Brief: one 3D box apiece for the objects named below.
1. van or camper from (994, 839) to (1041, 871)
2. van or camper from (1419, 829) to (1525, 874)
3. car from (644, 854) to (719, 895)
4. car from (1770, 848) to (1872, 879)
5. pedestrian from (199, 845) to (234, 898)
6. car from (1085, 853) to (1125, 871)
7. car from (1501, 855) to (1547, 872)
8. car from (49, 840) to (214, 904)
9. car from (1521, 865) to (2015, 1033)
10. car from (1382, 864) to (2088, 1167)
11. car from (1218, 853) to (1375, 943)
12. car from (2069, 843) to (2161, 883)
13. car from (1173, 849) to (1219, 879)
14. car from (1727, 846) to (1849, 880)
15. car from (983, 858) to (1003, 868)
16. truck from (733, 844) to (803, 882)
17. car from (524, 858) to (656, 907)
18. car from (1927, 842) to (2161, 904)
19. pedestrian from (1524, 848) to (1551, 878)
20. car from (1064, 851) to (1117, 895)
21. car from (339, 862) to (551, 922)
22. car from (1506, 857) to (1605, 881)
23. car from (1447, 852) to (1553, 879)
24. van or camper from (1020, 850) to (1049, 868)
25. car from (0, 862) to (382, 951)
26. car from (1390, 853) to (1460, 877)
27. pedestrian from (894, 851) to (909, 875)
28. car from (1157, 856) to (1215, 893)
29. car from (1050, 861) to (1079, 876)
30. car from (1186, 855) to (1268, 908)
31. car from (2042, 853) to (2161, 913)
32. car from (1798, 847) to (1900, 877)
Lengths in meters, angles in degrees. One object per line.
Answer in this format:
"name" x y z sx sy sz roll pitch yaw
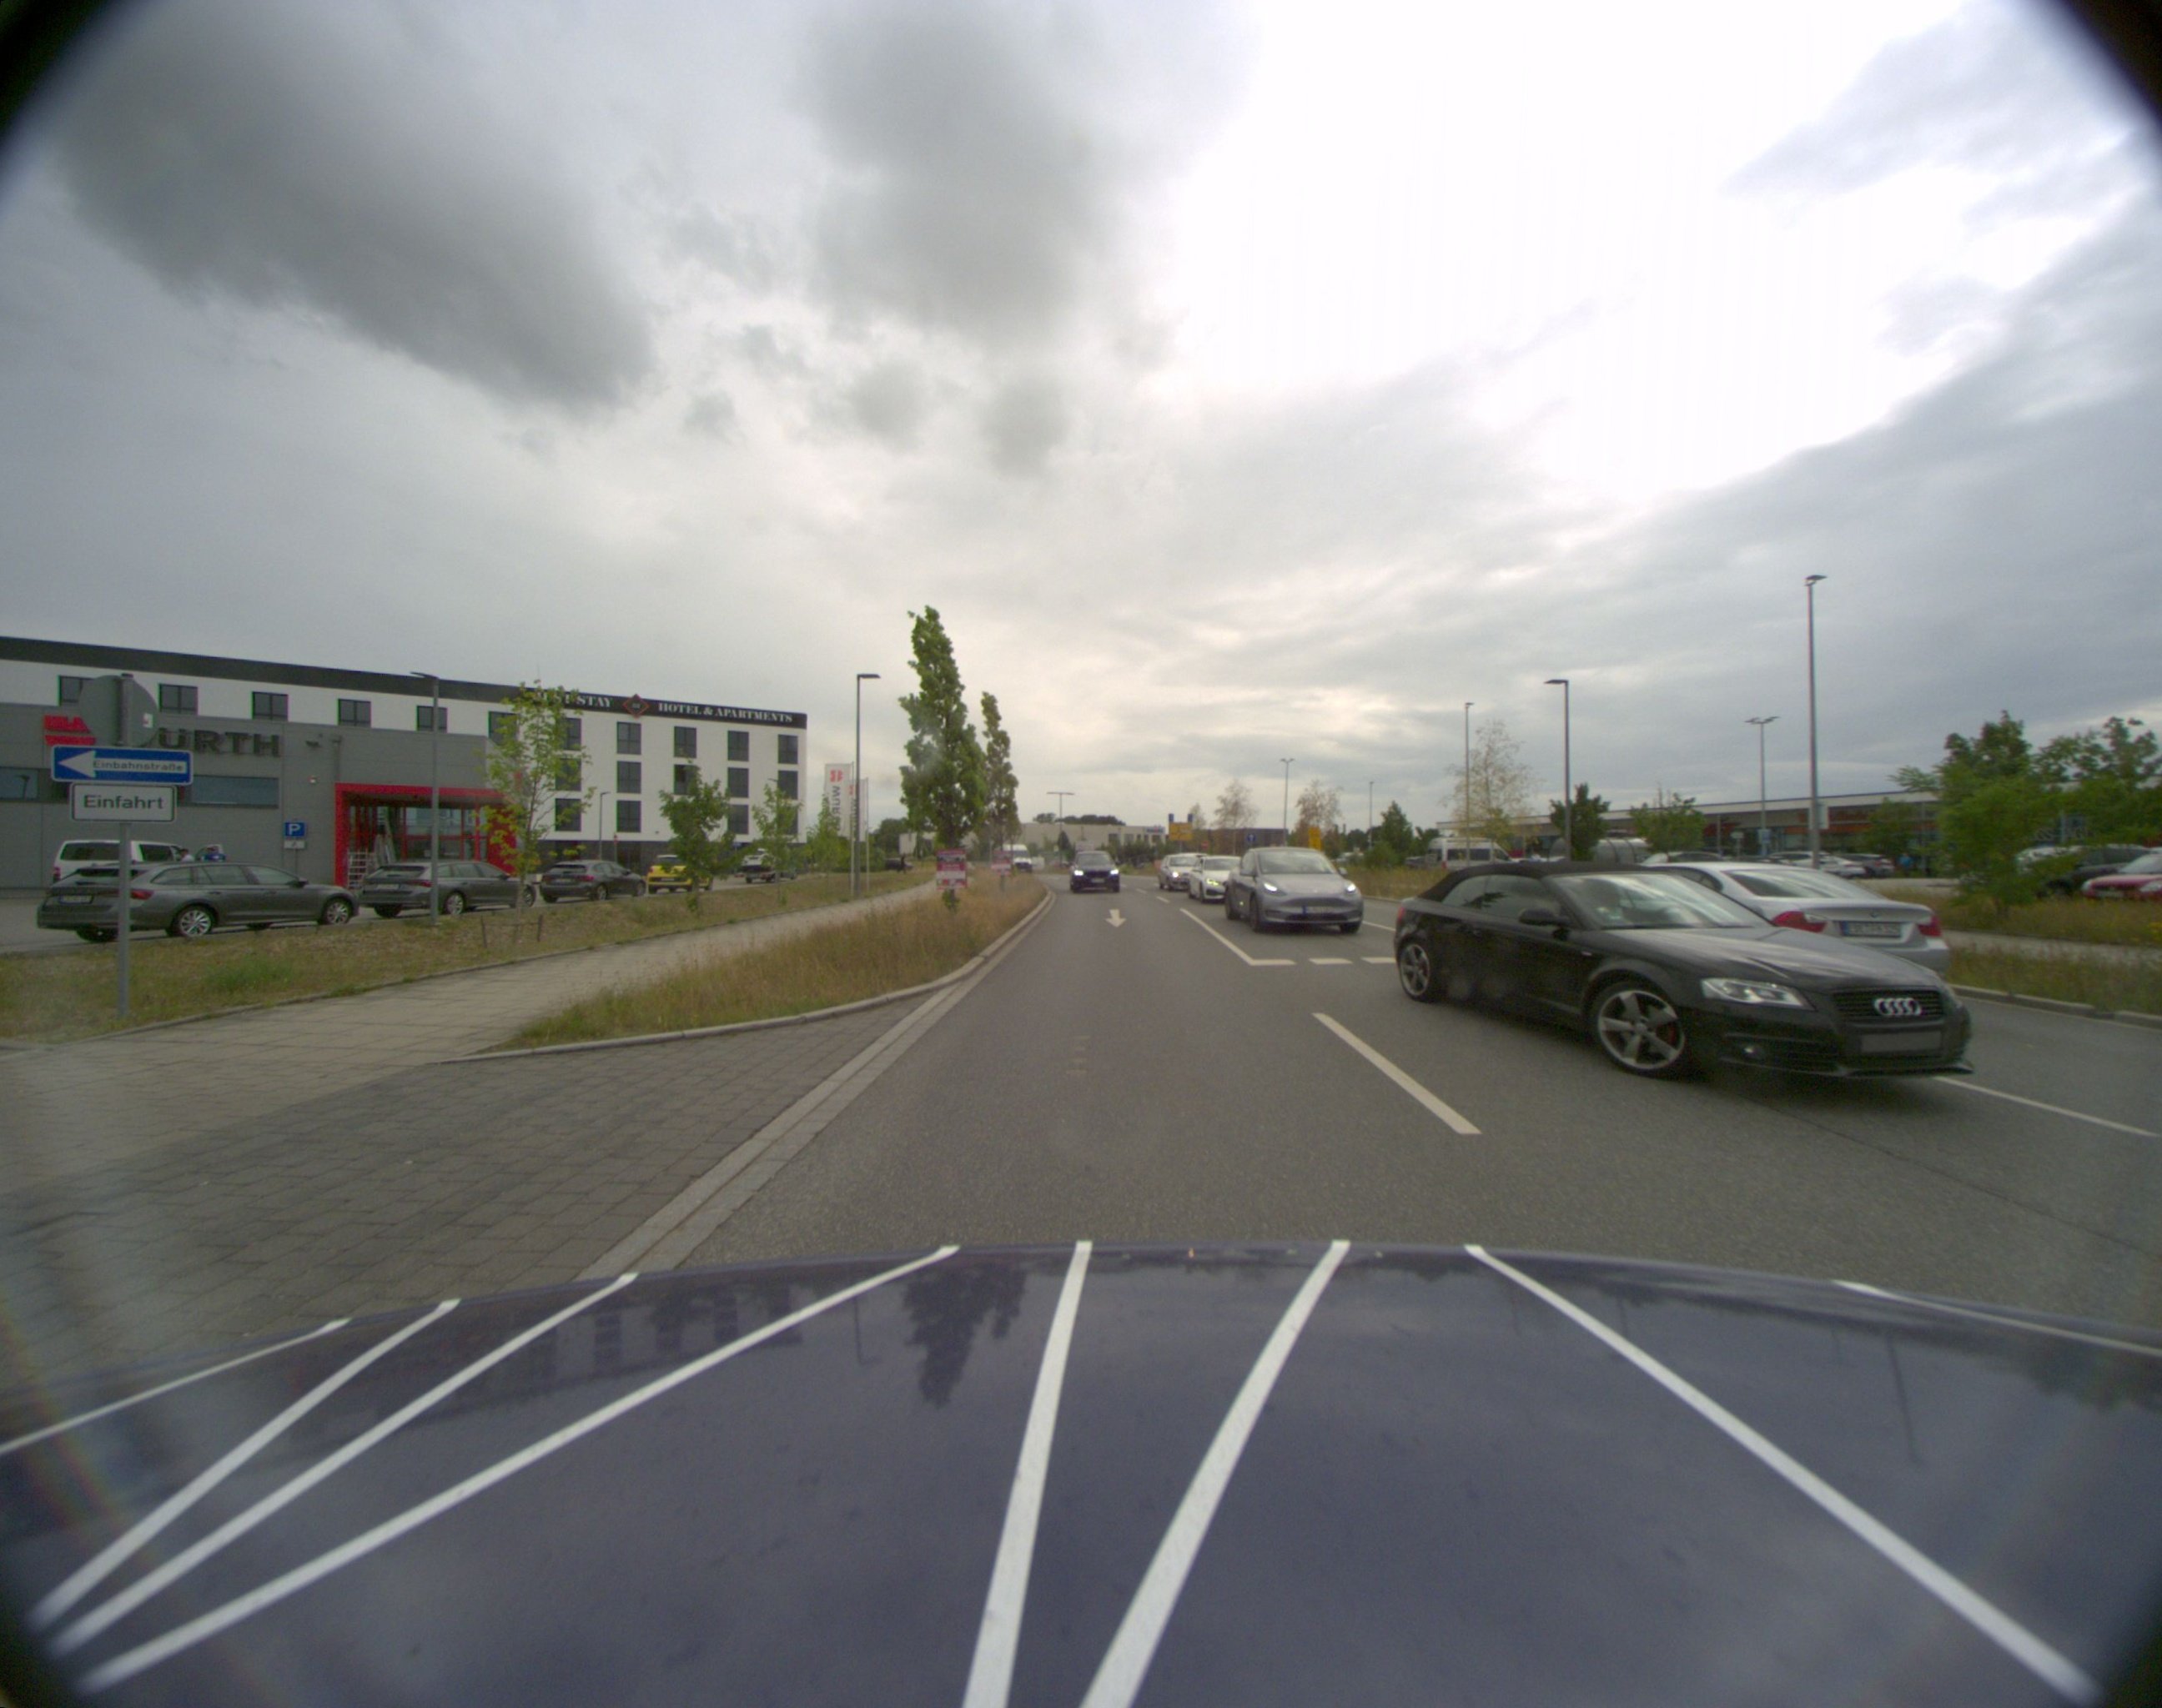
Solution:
"van or camper" -5.544 0.081 65.139 2.269 2.601 5.685 0 0 -24
"van or camper" 25.058 -0.150 48.791 5.871 2.784 2.241 0 1 -9
"car" -17.533 0.845 33.553 1.769 1.676 4.407 0 0 -11
"car" 44.290 0.525 45.575 1.780 1.762 3.993 -1 1 -18
"pedestrian" -30.410 0.609 26.734 0.616 1.857 0.799 -1 1 -35
"car" 2.036 0.700 66.268 1.793 1.481 4.759 1 0 -20
"car" 45.950 0.983 78.848 4.003 1.718 1.950 0 0 -17
"car" -31.884 0.550 25.729 2.003 1.976 4.625 -1 0 -31
"car" 7.510 0.895 9.117 1.841 1.409 4.499 1 0 0
"car" 4.240 0.849 6.035 1.774 1.429 4.228 0 1 -4
"car" 4.164 0.778 15.544 1.998 1.552 4.613 0 0 1
"car" 50.977 0.435 36.209 2.247 1.863 4.298 0 0 -21
"car" 6.687 0.558 44.600 1.998 1.627 4.702 2 0 0
"car" 41.810 0.535 45.111 2.160 1.888 4.919 0 0 -16
"car" -12.265 1.199 105.964 1.790 1.313 3.993 -1 0 -21
"truck" -20.448 0.572 50.093 2.234 2.312 8.209 0 0 -7
"car" -17.308 0.956 27.103 1.999 1.488 4.605 0 1 -5
"car" 26.826 0.509 21.138 4.312 1.645 2.080 0 0 -1
"pedestrian" 28.843 0.569 48.030 1.012 1.879 1.112 0 0 -22
"car" 0.330 0.744 31.371 1.999 1.654 3.999 -1 0 -1
"car" -17.082 0.937 20.811 1.869 1.428 4.878 0 0 -3
"car" 26.281 0.813 42.145 4.337 1.297 2.010 0 0 -5
"car" 20.486 0.561 37.279 4.090 1.252 2.011 0 0 1
"van or camper" -5.346 0.550 87.303 1.955 1.996 5.119 1 0 -20
"car" -17.136 0.906 15.157 1.967 1.451 4.831 0 0 -1
"car" 24.150 0.752 53.447 3.956 1.624 2.084 0 0 -7
"pedestrian" -14.533 0.716 61.461 1.195 1.847 1.073 0 2 -13
"car" 4.264 0.791 31.499 1.707 1.429 4.031 0 0 -2
"car" -1.678 1.465 77.103 1.725 1.437 4.228 1 0 -19
"car" 4.502 0.800 24.038 1.884 1.460 4.193 0 1 1
"car" 26.862 0.672 18.587 4.094 1.383 2.000 0 0 2
"car" 46.991 0.469 46.580 1.887 1.761 3.993 0 0 -21
